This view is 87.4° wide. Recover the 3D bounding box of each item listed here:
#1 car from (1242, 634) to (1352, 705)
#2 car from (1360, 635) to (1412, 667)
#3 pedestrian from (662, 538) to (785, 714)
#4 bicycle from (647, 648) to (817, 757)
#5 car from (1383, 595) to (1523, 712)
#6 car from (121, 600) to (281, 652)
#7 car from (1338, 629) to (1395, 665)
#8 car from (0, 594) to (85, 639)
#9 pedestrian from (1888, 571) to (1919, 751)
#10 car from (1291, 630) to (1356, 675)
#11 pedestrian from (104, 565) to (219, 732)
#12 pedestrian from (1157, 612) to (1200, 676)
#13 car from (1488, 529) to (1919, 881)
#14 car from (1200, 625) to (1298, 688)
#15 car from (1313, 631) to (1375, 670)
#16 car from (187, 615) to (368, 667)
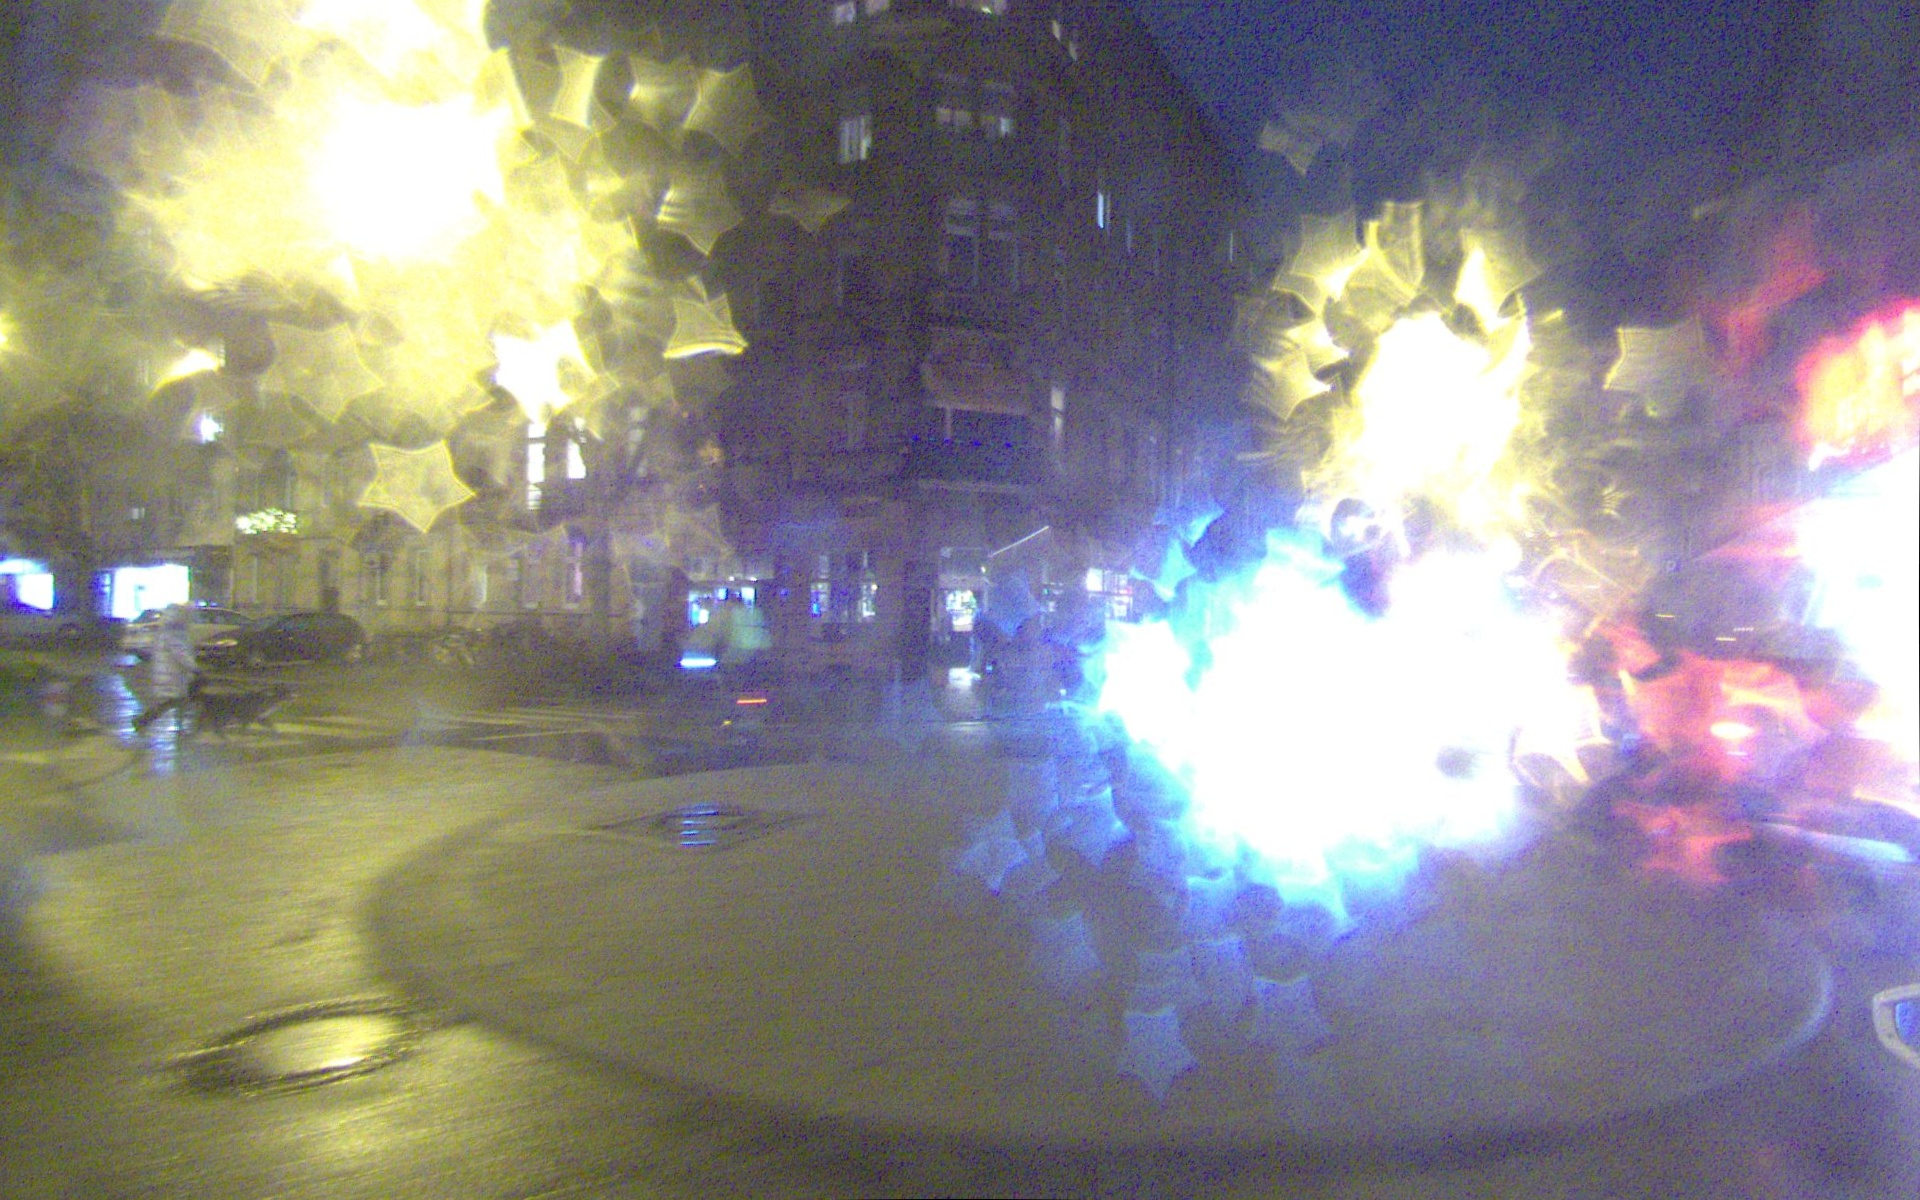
[{"bbox_3d":[7.738,1.507,22.838,1.541,1.446,4.060,-1,-2,31],"label":"car"},{"bbox_3d":[21.625,2.564,50.883,1.964,1.468,3.994,3,-1,29],"label":"car"},{"bbox_3d":[-2.618,0.284,11.180,0.704,1.835,1.120,0,-1,41],"label":"pedestrian"},{"bbox_3d":[-2.520,1.105,11.279,0.704,1.073,1.793,0,-1,40],"label":"bicycle"},{"bbox_3d":[9.518,0.969,19.770,2.088,1.948,4.824,2,-1,22],"label":"car"},{"bbox_3d":[-22.424,0.780,29.799,1.564,1.422,3.453,-1,-2,32],"label":"car"},{"bbox_3d":[18.931,2.141,46.642,1.728,1.468,4.613,3,0,31],"label":"car"},{"bbox_3d":[-35.492,0.626,37.723,1.564,1.649,3.663,-1,-2,32],"label":"car"},{"bbox_3d":[12.540,0.766,12.633,1.038,2.237,0.968,-1,-2,30],"label":"pedestrian"},{"bbox_3d":[12.999,1.820,35.821,1.563,1.468,3.496,2,-1,30],"label":"car"},{"bbox_3d":[-9.483,0.568,11.938,0.788,1.882,0.941,-2,-2,43],"label":"pedestrian"},{"bbox_3d":[6.326,1.275,29.067,0.793,1.789,1.012,3,-1,36],"label":"pedestrian"},{"bbox_3d":[6.034,0.667,8.046,2.086,2.018,4.604,2,-1,14],"label":"car"},{"bbox_3d":[8.027,1.507,27.687,1.563,1.483,4.016,4,1,30],"label":"car"},{"bbox_3d":[15.708,2.020,40.957,1.665,1.419,4.308,2,-1,30],"label":"car"},{"bbox_3d":[-18.310,1.093,27.098,1.564,1.292,3.711,-1,-2,32],"label":"car"}]
